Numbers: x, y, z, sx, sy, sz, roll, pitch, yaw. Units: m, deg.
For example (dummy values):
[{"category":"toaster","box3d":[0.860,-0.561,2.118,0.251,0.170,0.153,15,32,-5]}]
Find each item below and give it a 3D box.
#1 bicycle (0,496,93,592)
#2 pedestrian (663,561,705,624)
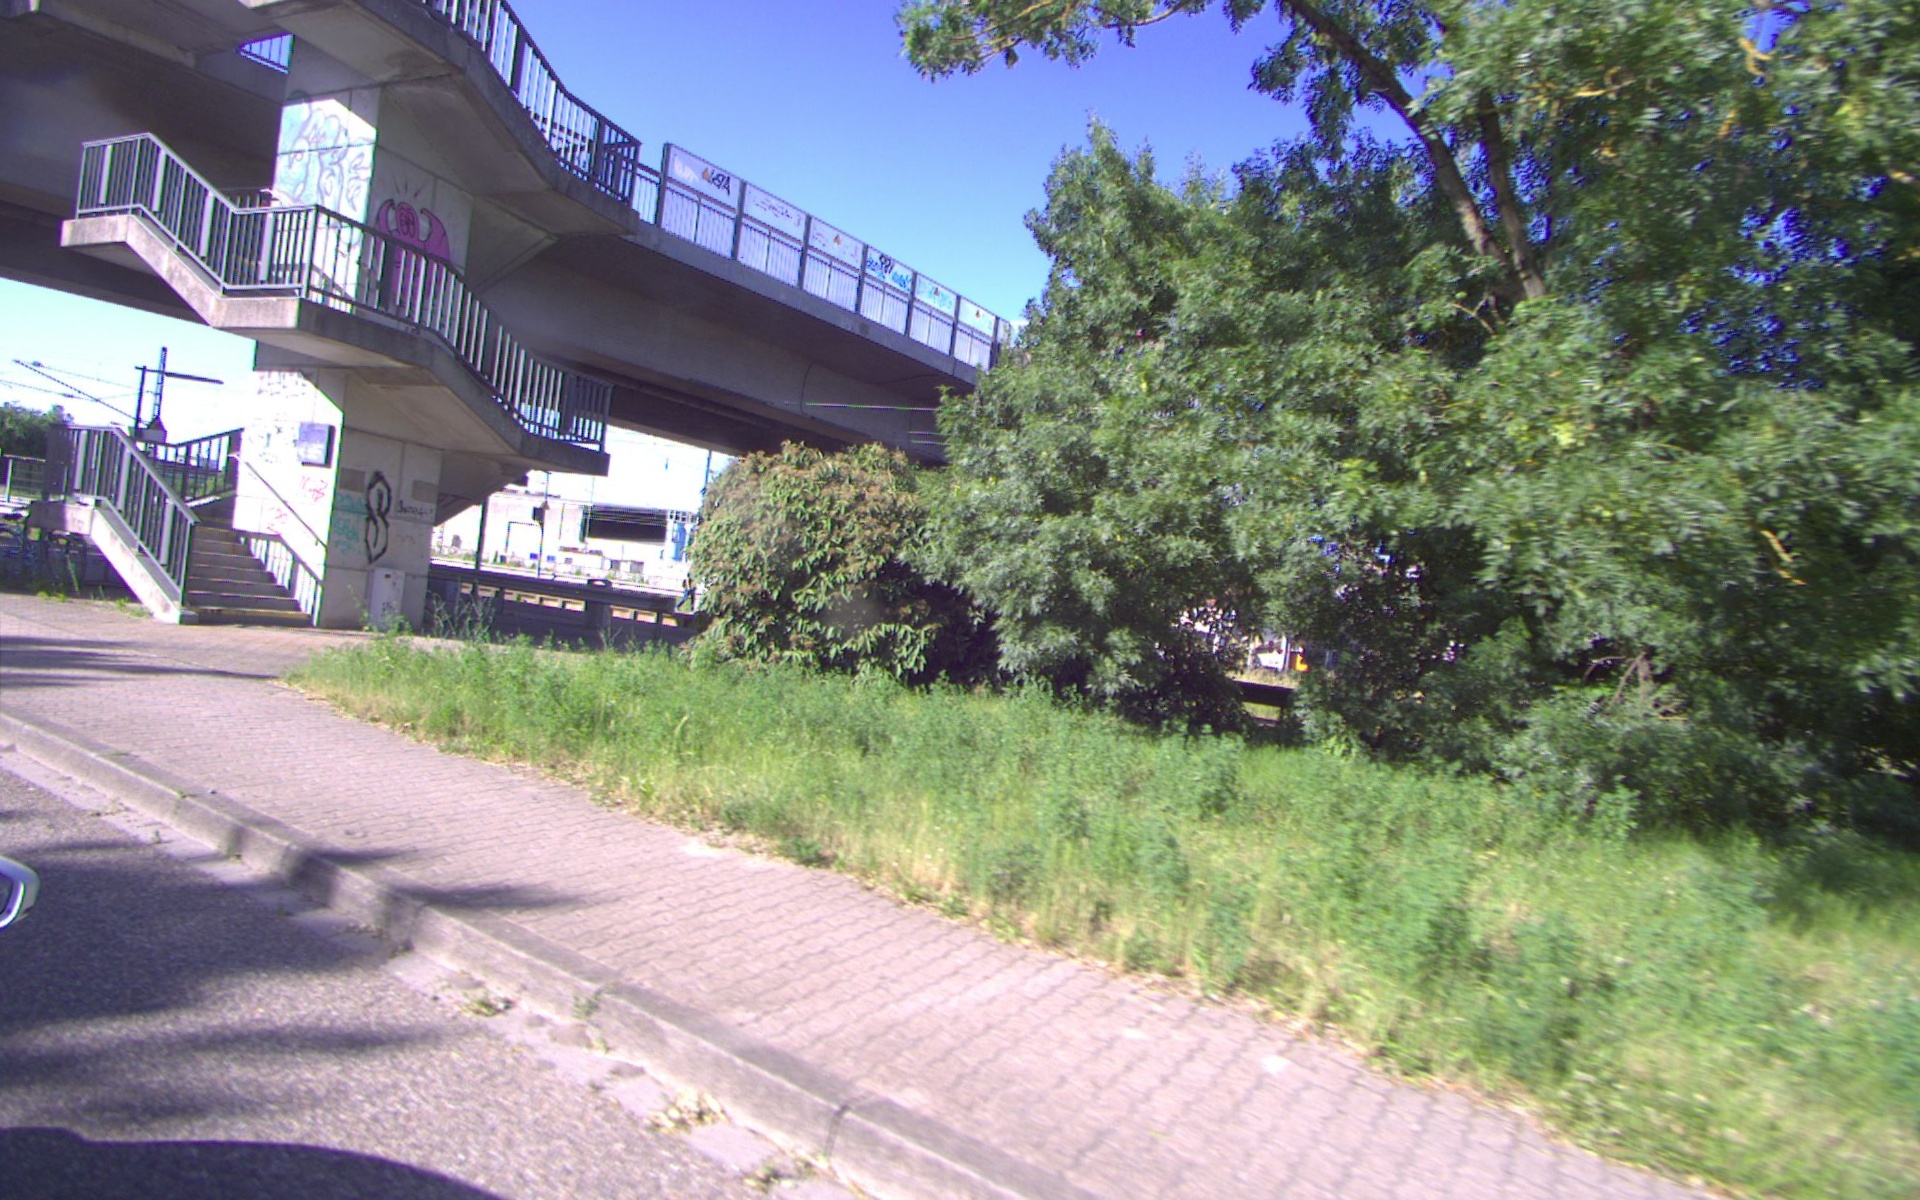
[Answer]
[{"category":"bicycle","box3d":[-13.434,-0.849,14.325,2.141,1.197,0.599,7,1,20]},{"category":"pedestrian","box3d":[-9.533,-0.236,34.759,0.820,2.038,0.895,7,1,23]}]
